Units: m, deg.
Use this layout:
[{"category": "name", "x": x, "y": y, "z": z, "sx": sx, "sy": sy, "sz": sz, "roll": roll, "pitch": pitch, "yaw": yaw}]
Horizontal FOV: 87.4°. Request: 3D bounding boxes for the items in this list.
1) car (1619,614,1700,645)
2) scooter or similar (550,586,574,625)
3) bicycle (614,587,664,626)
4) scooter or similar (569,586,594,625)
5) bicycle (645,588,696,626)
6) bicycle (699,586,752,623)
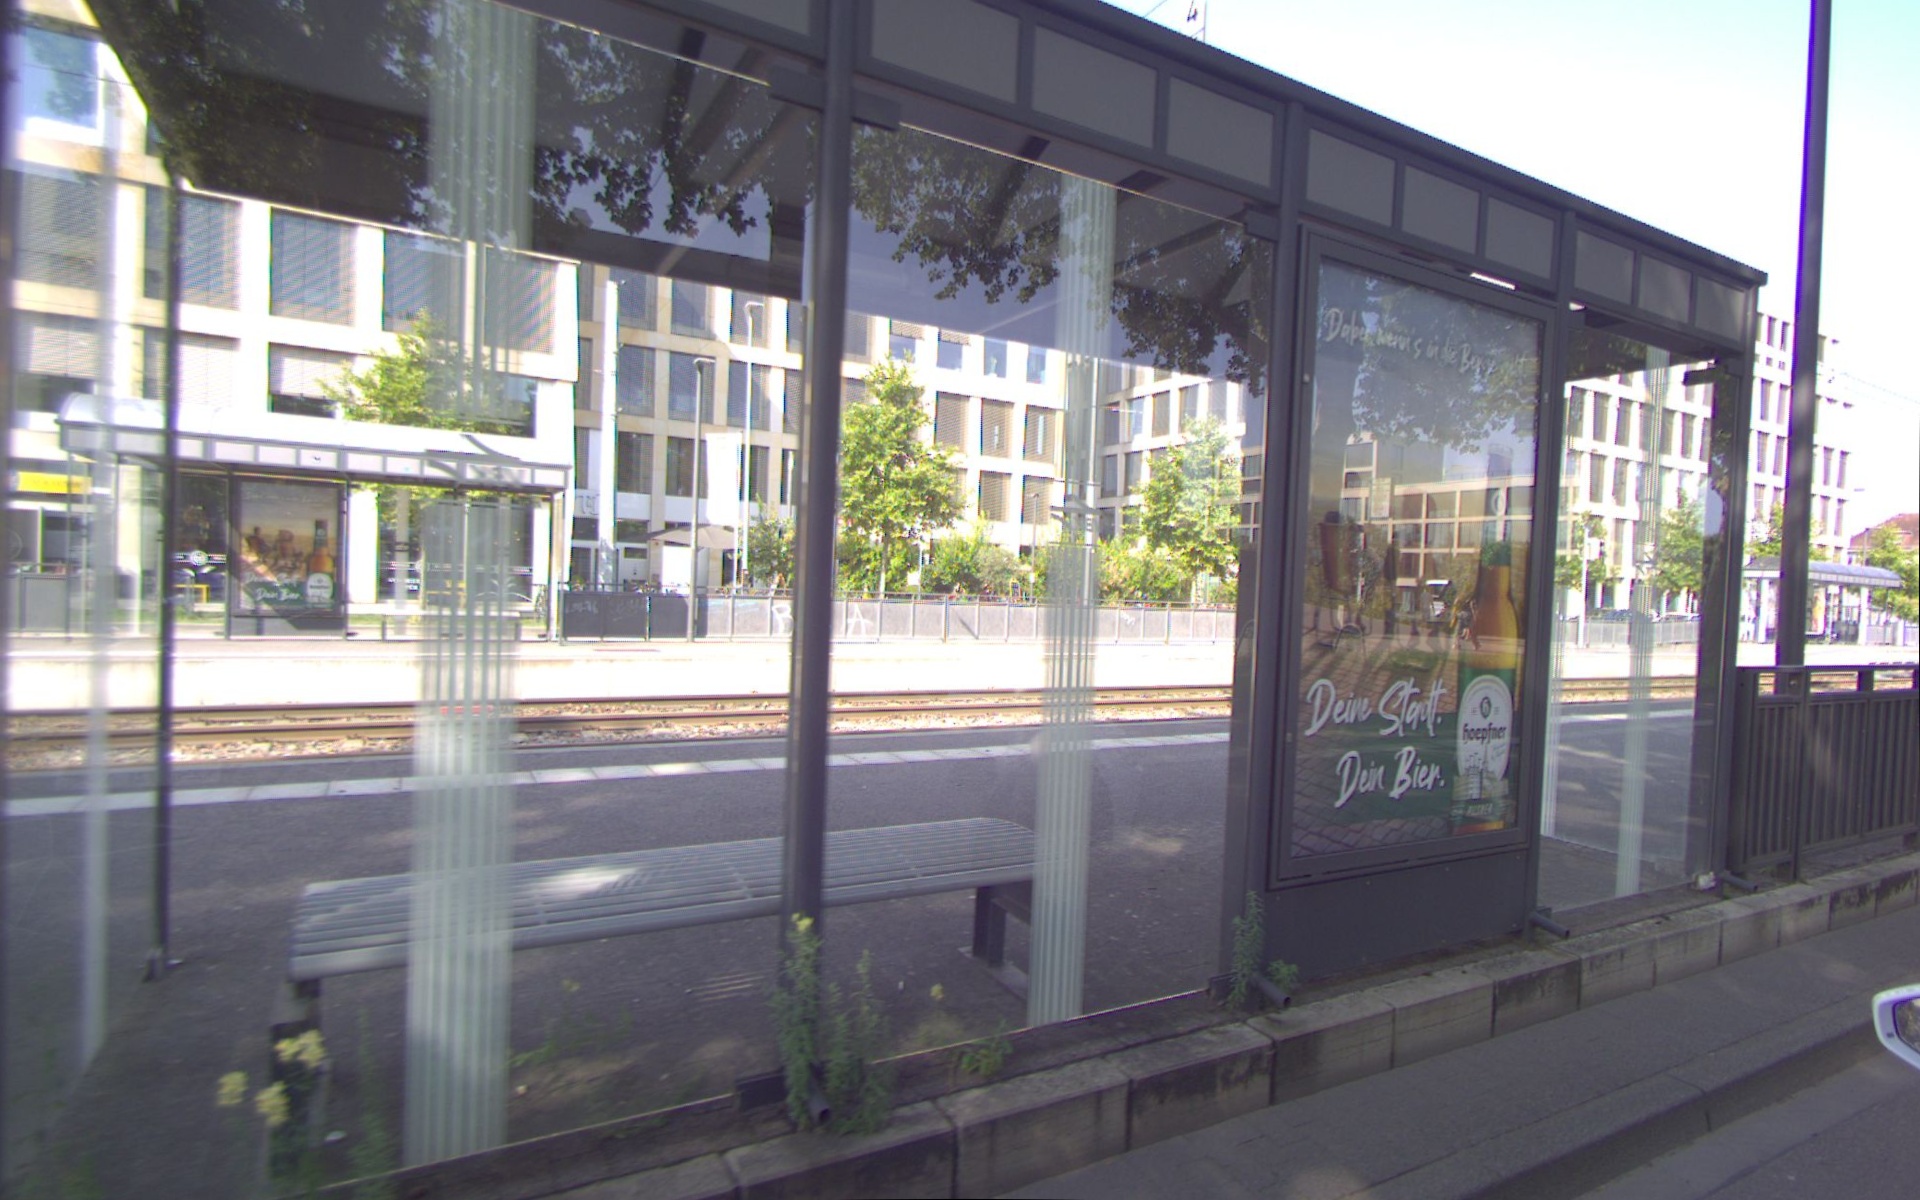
[{"category": "car", "x": 34.403, "y": 1.469, "z": 49.373, "sx": 4.173, "sy": 1.395, "sz": 1.634, "roll": 2, "pitch": 1, "yaw": -30}, {"category": "scooter or similar", "x": -10.692, "y": 0.130, "z": 26.958, "sx": 0.367, "sy": 0.999, "sz": 1.493, "roll": 1, "pitch": 1, "yaw": -30}, {"category": "bicycle", "x": -8.935, "y": 0.172, "z": 27.908, "sx": 0.812, "sy": 0.999, "sz": 2.421, "roll": 1, "pitch": 1, "yaw": -30}, {"category": "scooter or similar", "x": -10.247, "y": 0.131, "z": 27.176, "sx": 0.390, "sy": 0.999, "sz": 1.515, "roll": 1, "pitch": 1, "yaw": -30}, {"category": "bicycle", "x": -8.187, "y": 0.179, "z": 28.355, "sx": 0.812, "sy": 0.999, "sz": 2.421, "roll": 1, "pitch": 1, "yaw": -30}, {"category": "bicycle", "x": -6.898, "y": 0.127, "z": 29.449, "sx": 0.812, "sy": 0.999, "sz": 2.421, "roll": 1, "pitch": 1, "yaw": -30}]
